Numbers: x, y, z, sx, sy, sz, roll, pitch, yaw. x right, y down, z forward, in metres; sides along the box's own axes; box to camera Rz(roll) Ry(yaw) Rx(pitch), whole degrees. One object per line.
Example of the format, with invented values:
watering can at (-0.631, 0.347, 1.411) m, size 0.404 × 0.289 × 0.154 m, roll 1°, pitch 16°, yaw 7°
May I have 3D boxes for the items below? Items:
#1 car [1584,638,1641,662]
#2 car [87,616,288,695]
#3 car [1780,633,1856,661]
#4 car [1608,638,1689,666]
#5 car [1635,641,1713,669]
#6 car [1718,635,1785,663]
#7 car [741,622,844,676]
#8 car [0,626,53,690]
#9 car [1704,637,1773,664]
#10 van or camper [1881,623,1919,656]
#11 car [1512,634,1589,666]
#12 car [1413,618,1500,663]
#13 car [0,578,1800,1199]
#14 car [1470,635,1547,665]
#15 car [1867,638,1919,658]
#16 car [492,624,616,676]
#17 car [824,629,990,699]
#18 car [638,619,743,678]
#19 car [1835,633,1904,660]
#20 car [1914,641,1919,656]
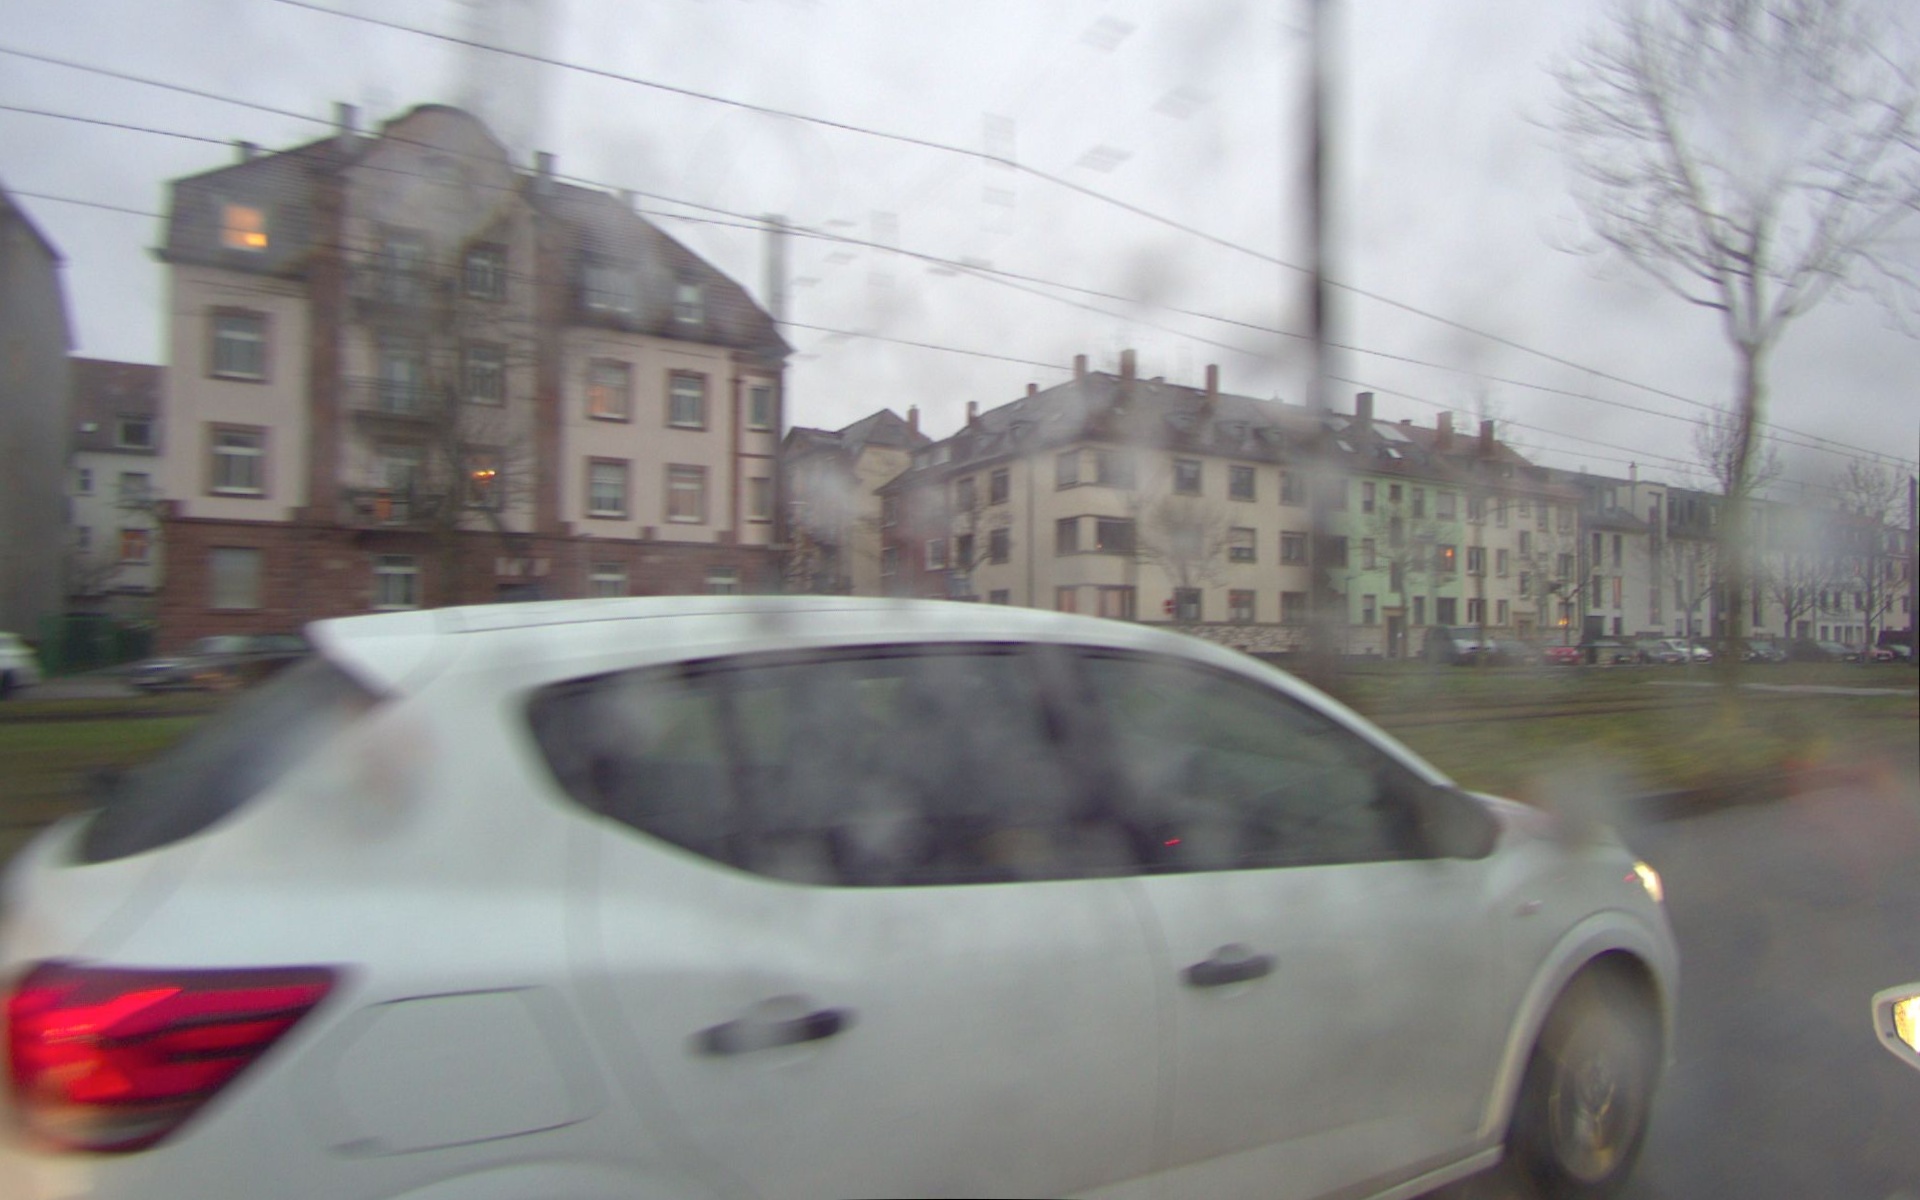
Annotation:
car at (33.363, 2.543, 51.435) m, size 1.408 × 1.062 × 2.393 m, roll 1°, pitch 0°, yaw 2°
car at (-16.523, 1.130, 21.711) m, size 1.842 × 1.437 × 3.361 m, roll 3°, pitch 0°, yaw -5°
car at (55.304, 3.004, 64.817) m, size 1.636 × 1.561 × 4.165 m, roll 1°, pitch 0°, yaw 6°
car at (36.064, 2.713, 52.751) m, size 1.703 × 1.188 × 3.822 m, roll 1°, pitch 0°, yaw 2°
car at (38.532, 2.949, 54.322) m, size 1.702 × 1.262 × 3.845 m, roll 1°, pitch 0°, yaw 6°
car at (47.123, 2.897, 59.846) m, size 1.636 × 1.441 × 3.387 m, roll 1°, pitch 0°, yaw 8°
car at (-4.748, 1.363, 29.004) m, size 1.677 × 1.176 × 4.107 m, roll 3°, pitch 2°, yaw 9°
car at (-21.024, 1.211, 19.919) m, size 1.796 × 1.275 × 4.268 m, roll 1°, pitch 0°, yaw 10°
car at (44.877, 2.897, 57.966) m, size 1.703 × 1.354 × 2.937 m, roll 1°, pitch 0°, yaw 2°
van or camper at (73.285, 3.049, 75.574) m, size 1.960 × 2.391 × 6.884 m, roll 1°, pitch 0°, yaw 4°
car at (28.188, 2.367, 48.052) m, size 1.653 × 1.326 × 3.581 m, roll 1°, pitch 0°, yaw 2°
car at (22.175, 1.775, 45.085) m, size 1.796 × 1.746 × 4.660 m, roll 1°, pitch 0°, yaw 4°
car at (0.193, 0.759, 2.566) m, size 3.952 × 1.494 × 1.681 m, roll 2°, pitch 0°, yaw -29°
car at (25.437, 2.288, 46.717) m, size 1.702 × 1.156 × 3.572 m, roll 1°, pitch 0°, yaw 2°
car at (66.410, 3.409, 71.528) m, size 1.360 × 1.220 × 2.890 m, roll 1°, pitch 0°, yaw 11°
car at (-10.249, 1.229, 25.560) m, size 1.759 × 1.003 × 2.920 m, roll 3°, pitch 2°, yaw 5°
car at (-1.259, 1.510, 24.402) m, size 3.738 × 1.524 × 1.538 m, roll 2°, pitch 0°, yaw -30°
car at (-7.204, 1.252, 27.208) m, size 1.321 × 1.247 × 4.046 m, roll 3°, pitch 2°, yaw 6°
car at (61.371, 3.092, 67.852) m, size 1.707 × 1.610 × 3.851 m, roll 1°, pitch 0°, yaw 11°
car at (76.850, 3.860, 78.282) m, size 1.713 × 1.228 × 3.541 m, roll 1°, pitch 0°, yaw 1°
